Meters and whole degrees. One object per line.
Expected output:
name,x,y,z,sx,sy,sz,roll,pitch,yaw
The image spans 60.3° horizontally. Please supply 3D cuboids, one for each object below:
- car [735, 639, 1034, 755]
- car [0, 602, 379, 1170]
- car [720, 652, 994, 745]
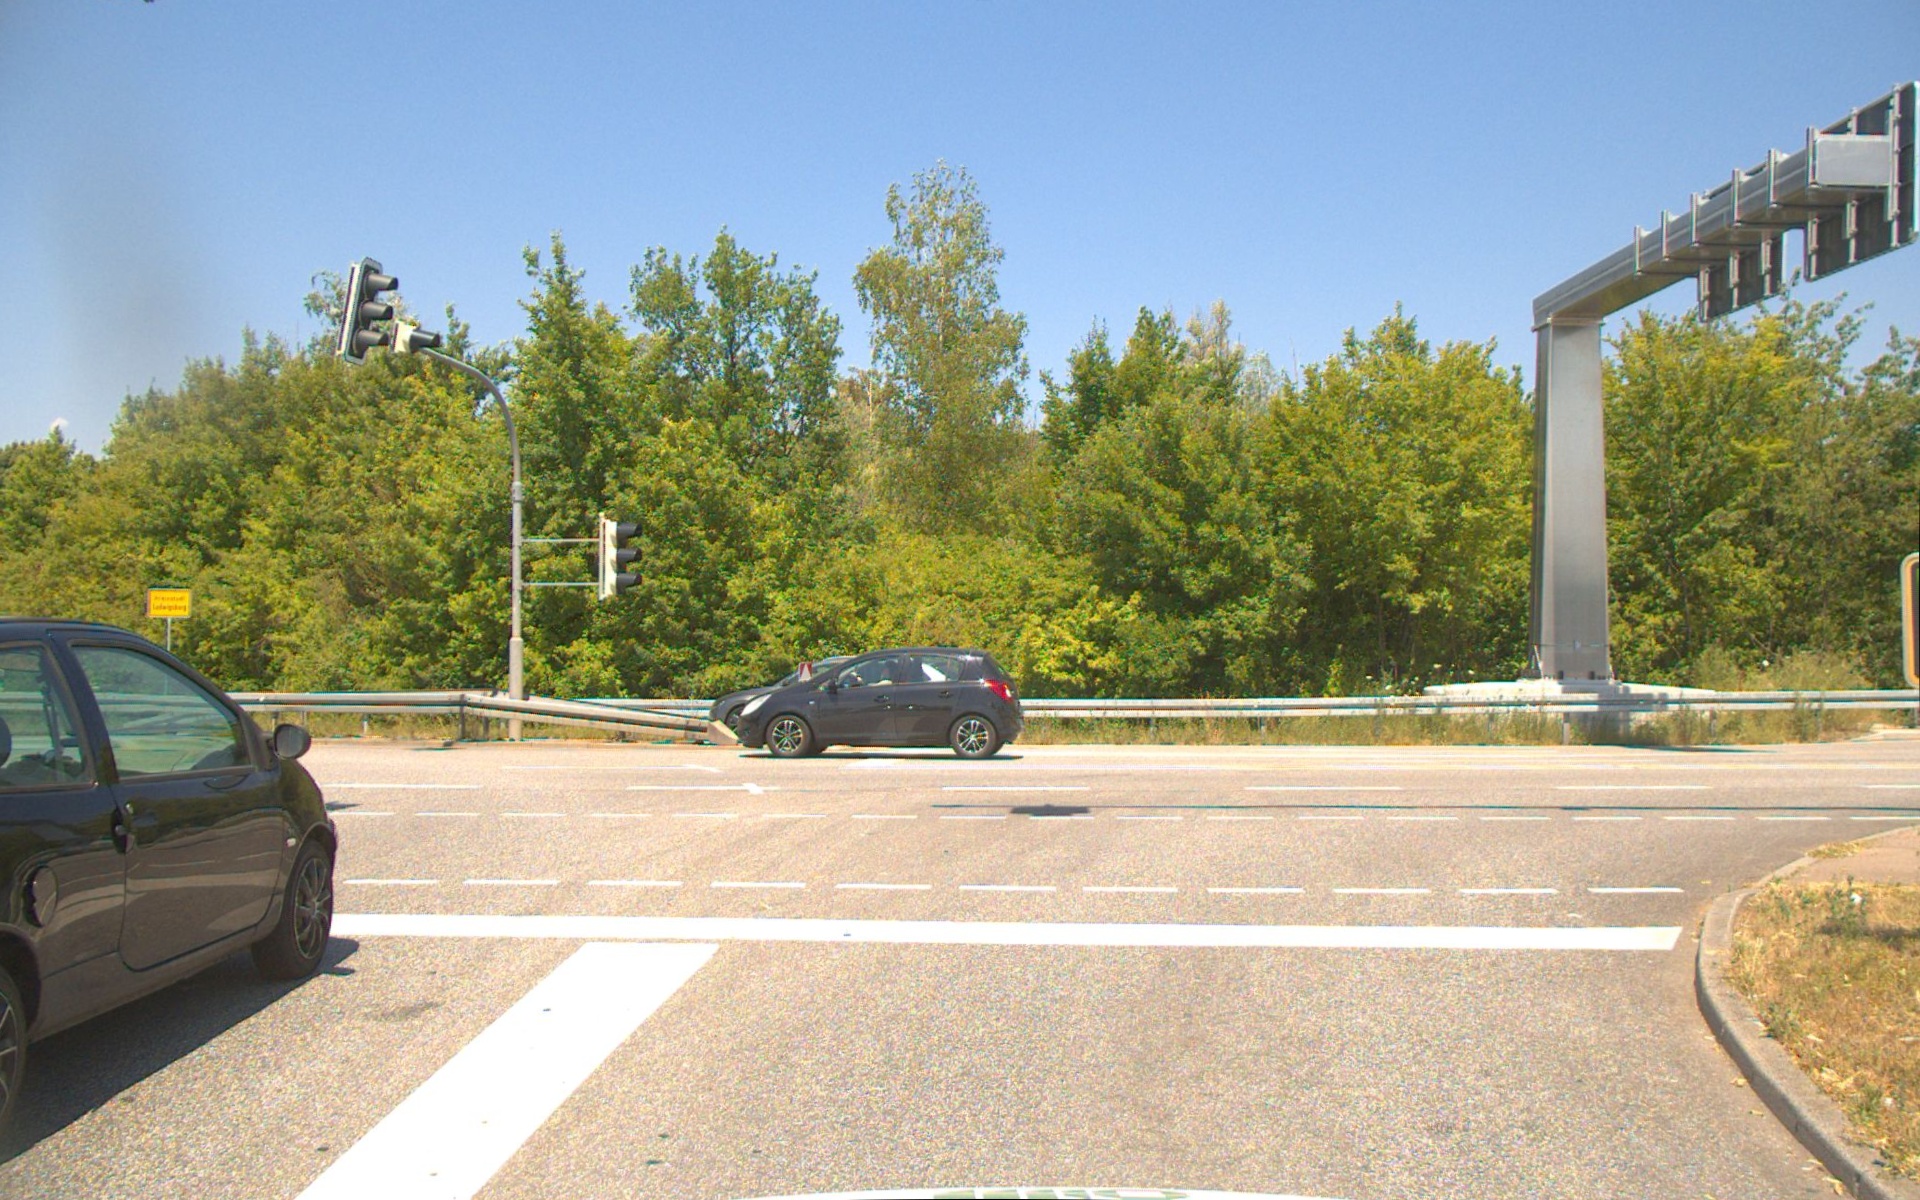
car,-0.966,1.319,22.596,3.833,1.459,1.812,1,-3,6
car,-3.244,0.728,5.407,1.586,1.432,3.299,0,-1,-2
car,-1.721,1.675,28.208,4.305,1.459,1.813,0,-4,12
